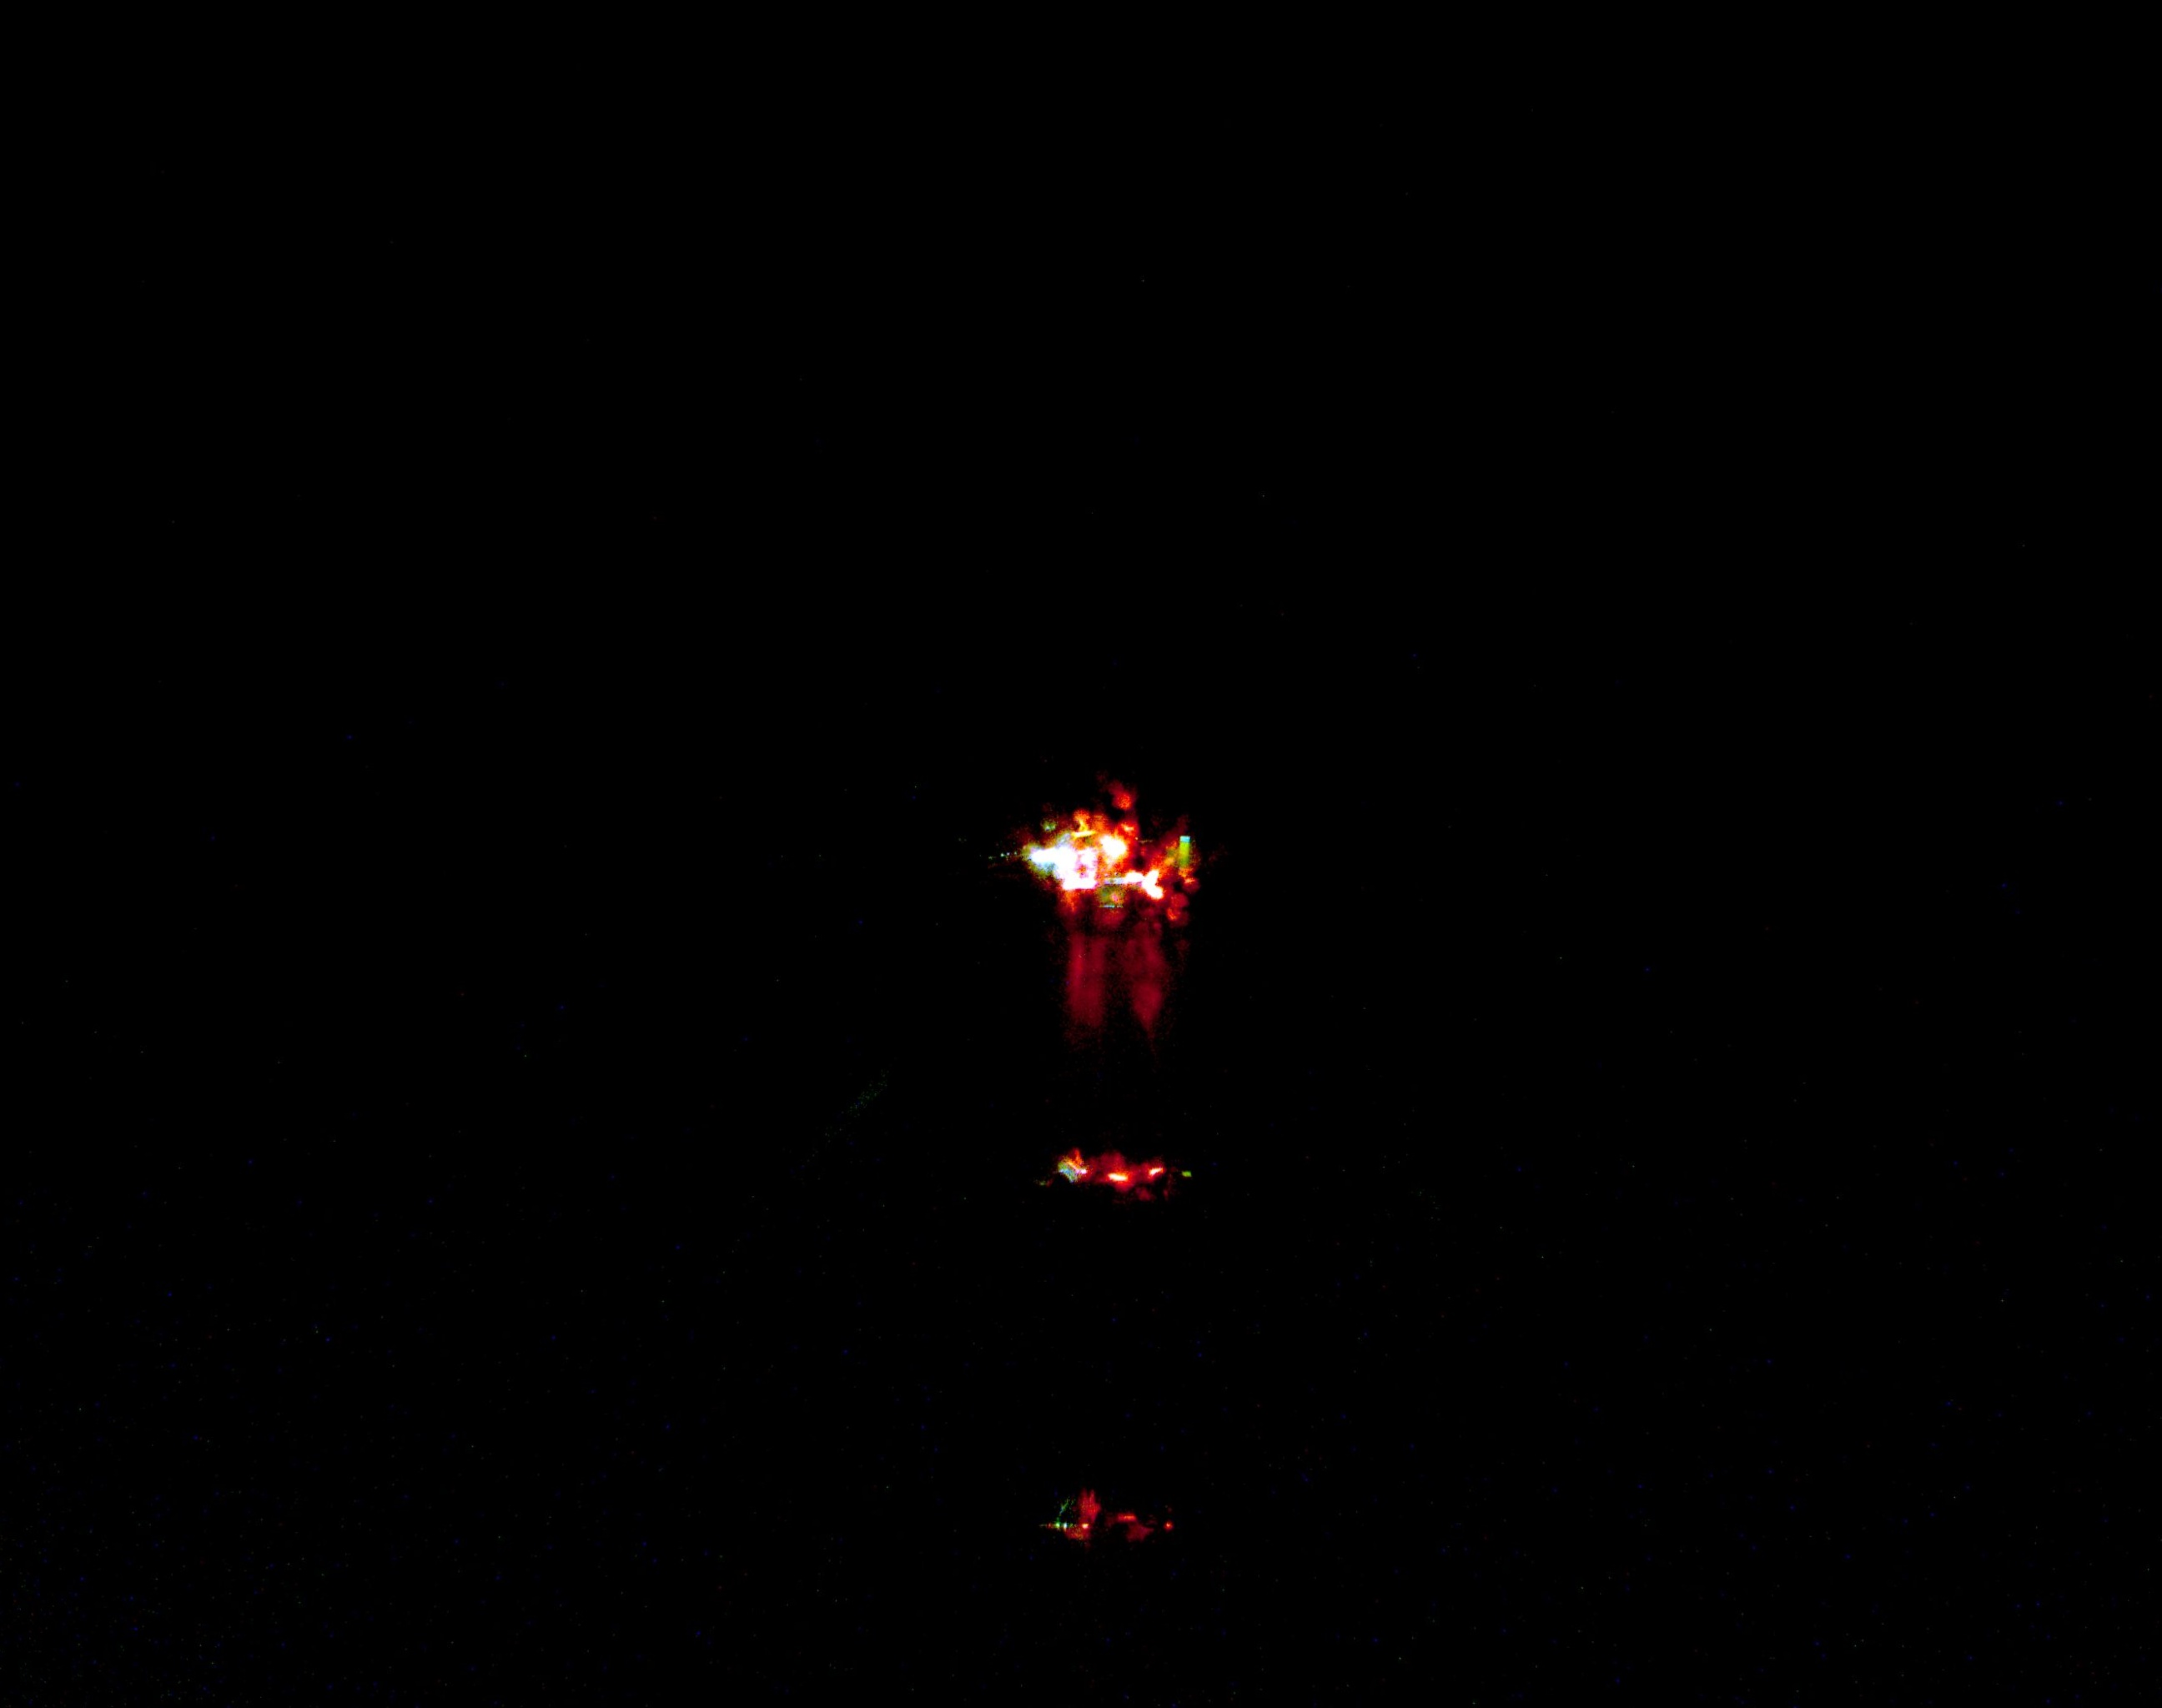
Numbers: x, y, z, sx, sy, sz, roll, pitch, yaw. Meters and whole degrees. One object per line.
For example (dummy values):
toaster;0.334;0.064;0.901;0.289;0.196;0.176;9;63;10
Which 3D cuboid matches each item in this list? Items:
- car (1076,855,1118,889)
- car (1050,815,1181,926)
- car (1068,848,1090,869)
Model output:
car;0.760;0.857;41.030;1.874;1.580;4.782;-1;0;-2
car;0.774;0.327;20.007;2.706;2.307;6.101;0;0;1
car;-0.200;0.424;79.300;1.987;1.914;4.000;-3;0;0
